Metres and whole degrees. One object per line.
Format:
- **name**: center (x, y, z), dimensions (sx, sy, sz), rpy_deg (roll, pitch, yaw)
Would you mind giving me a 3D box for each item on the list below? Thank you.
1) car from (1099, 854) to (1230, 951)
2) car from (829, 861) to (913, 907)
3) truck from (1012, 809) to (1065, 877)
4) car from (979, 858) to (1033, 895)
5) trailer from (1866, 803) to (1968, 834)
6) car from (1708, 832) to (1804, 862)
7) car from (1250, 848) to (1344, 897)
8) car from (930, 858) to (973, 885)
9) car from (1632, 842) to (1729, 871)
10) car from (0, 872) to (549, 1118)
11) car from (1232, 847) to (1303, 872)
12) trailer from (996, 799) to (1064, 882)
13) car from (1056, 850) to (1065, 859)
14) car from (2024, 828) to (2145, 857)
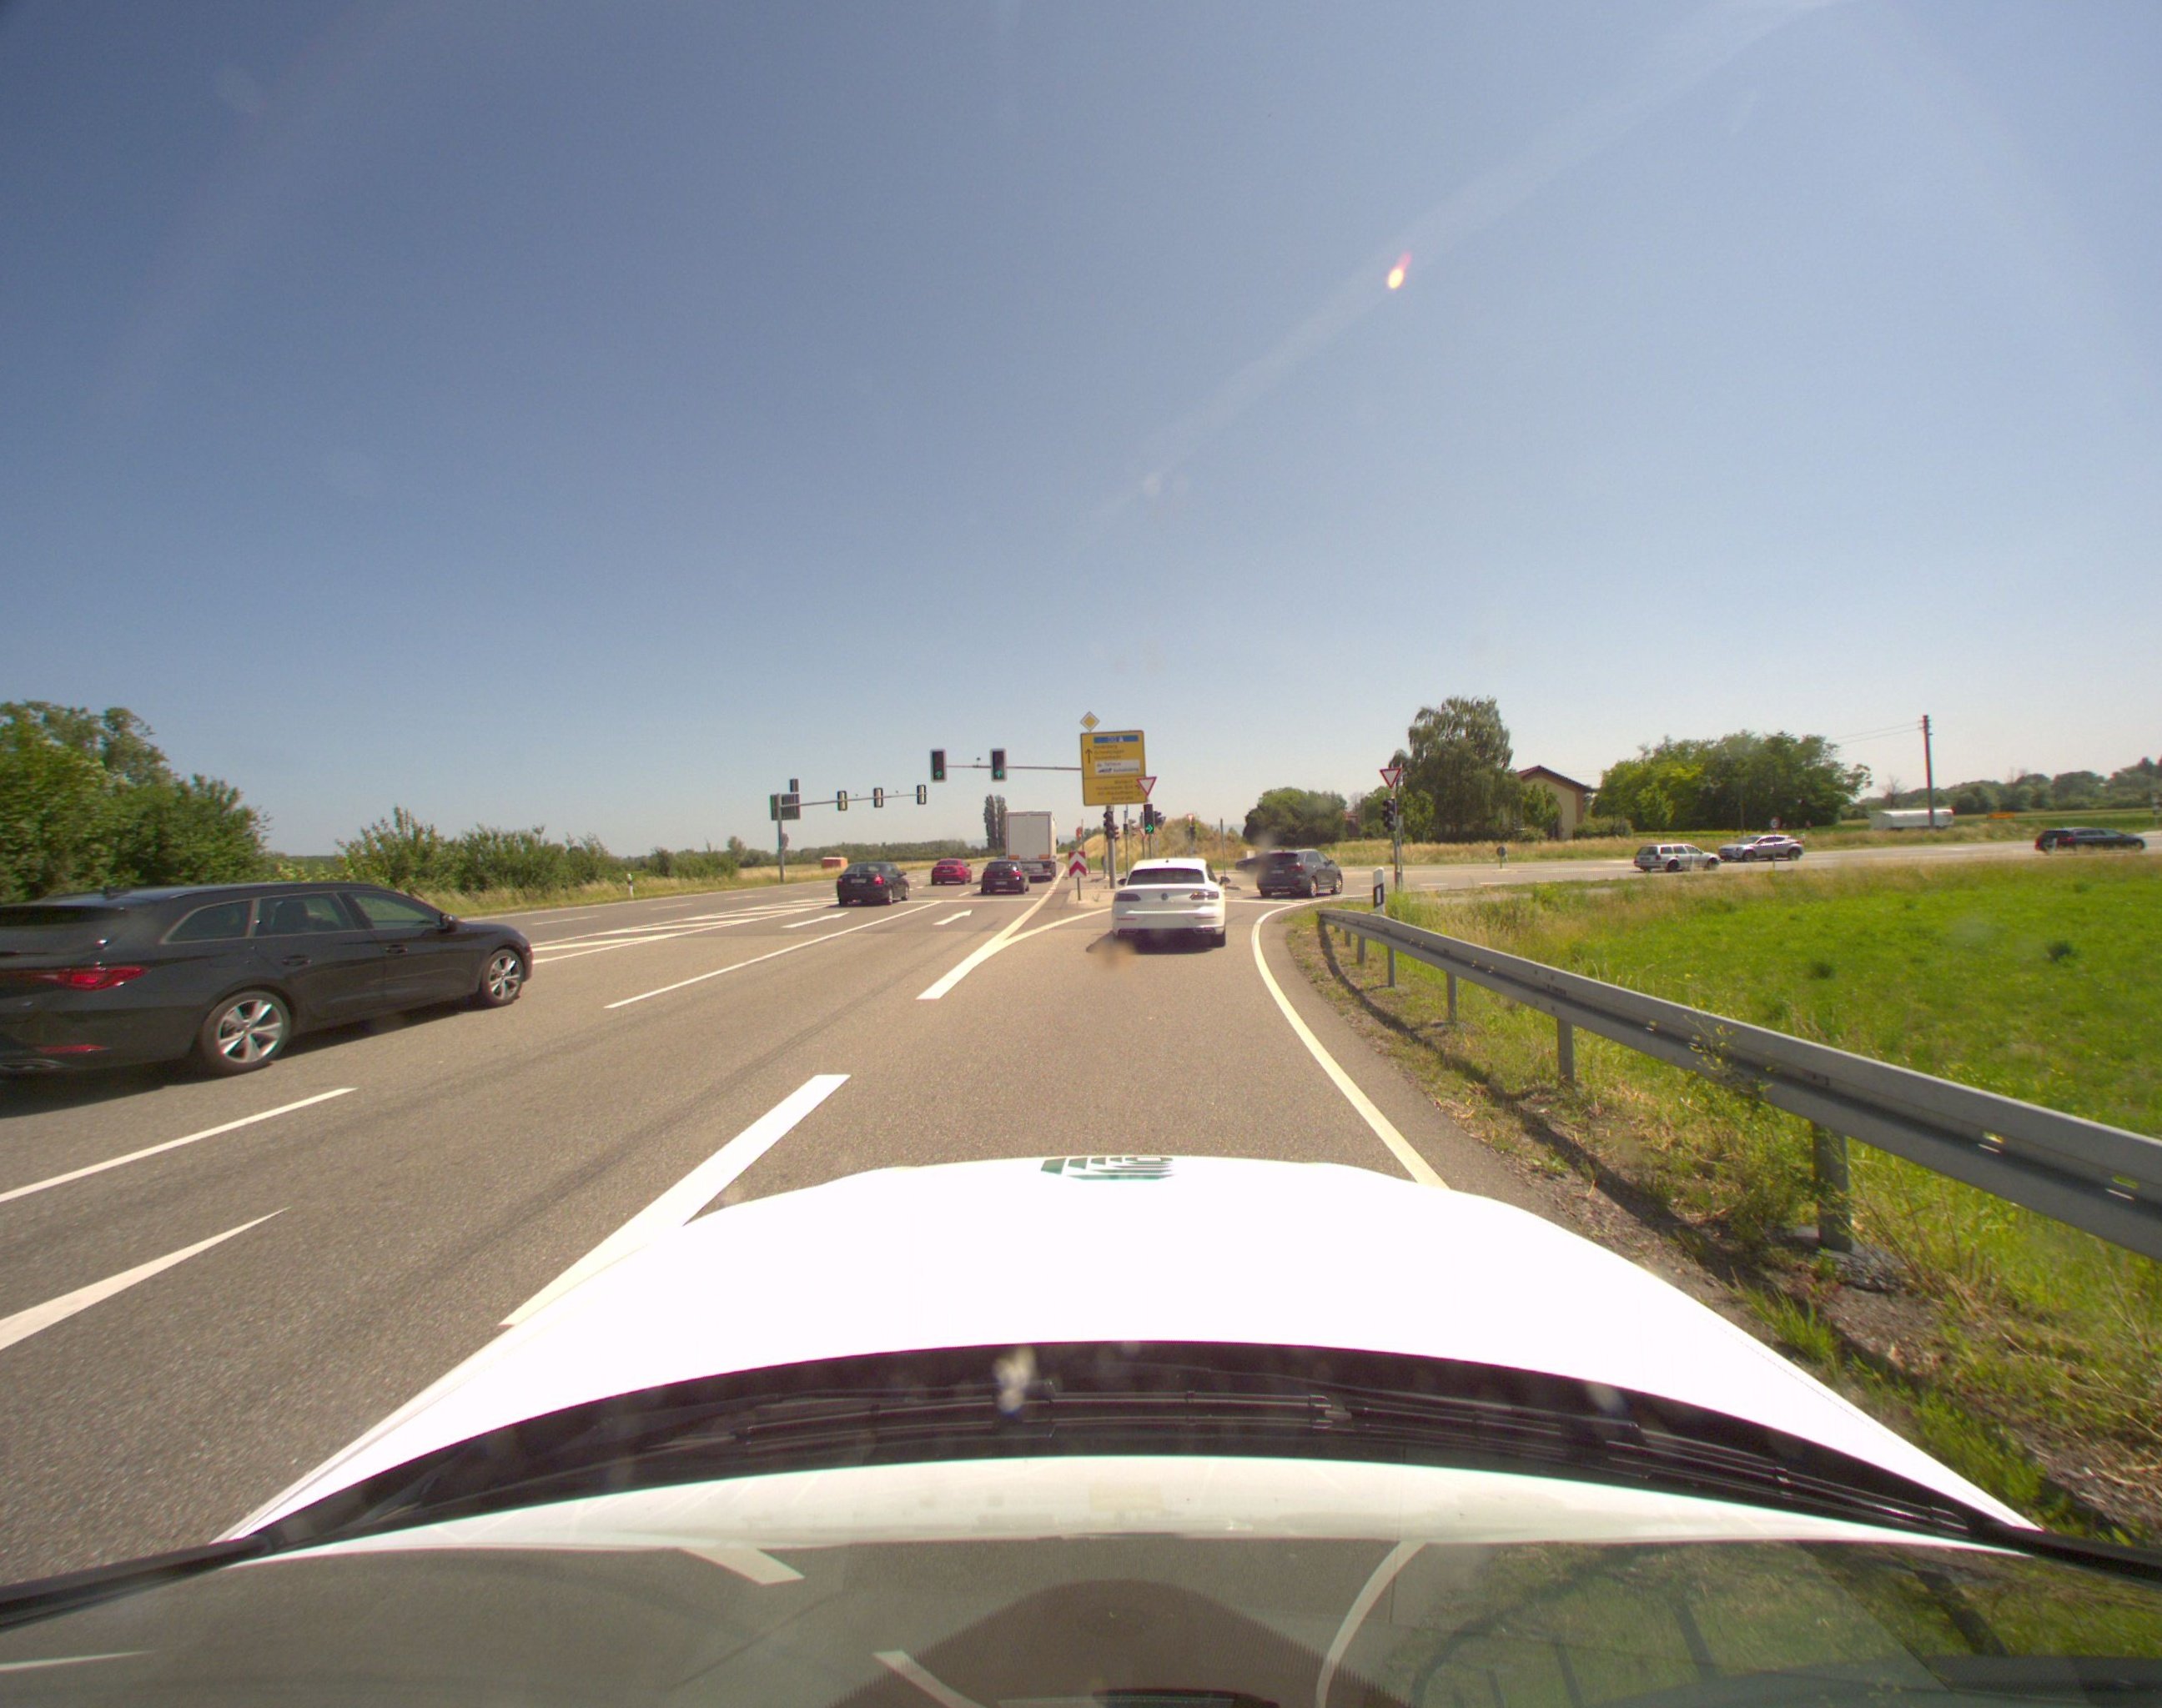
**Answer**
- **car**: center (1.648, 0.741, 14.490), dimensions (1.836, 1.433, 4.623), rpy_deg (-1, -1, 11)
- **car**: center (-7.080, 0.959, 27.897), dimensions (1.669, 1.412, 4.466), rpy_deg (-1, -1, 0)
- **truck**: center (-2.900, -0.733, 57.965), dimensions (3.370, 4.543, 6.371), rpy_deg (-1, 0, 0)
- **car**: center (-3.105, 0.893, 34.318), dimensions (1.778, 1.430, 4.381), rpy_deg (-1, 0, 1)
- **trailer**: center (76.404, -3.193, 74.512), dimensions (6.331, 2.455, 2.691), rpy_deg (-3, 1, 5)
- **car**: center (40.303, -0.410, 48.669), dimensions (4.534, 1.543, 1.867), rpy_deg (-3, 1, -8)
- **car**: center (7.856, 0.619, 29.336), dimensions (1.916, 1.616, 4.406), rpy_deg (-2, -1, 34)
- **car**: center (-7.260, 0.939, 46.093), dimensions (1.744, 1.421, 4.564), rpy_deg (-1, 0, -1)
- **car**: center (31.346, 0.144, 42.647), dimensions (4.080, 1.429, 1.799), rpy_deg (-1, -1, -11)
- **car**: center (-7.240, 0.939, 7.337), dimensions (1.883, 1.447, 4.525), rpy_deg (-1, 0, 0)
- **car**: center (12.060, 0.360, 52.857), dimensions (4.241, 1.368, 1.778), rpy_deg (-3, 1, 3)
- **trailer**: center (-2.924, -0.727, 51.214), dimensions (3.370, 4.542, 12.870), rpy_deg (-1, 0, 0)
- **car**: center (-4.796, 0.176, 187.110), dimensions (1.975, 1.869, 4.462), rpy_deg (-1, -1, -3)
- **car**: center (54.620, -0.614, 44.381), dimensions (4.386, 1.476, 1.805), rpy_deg (-1, -1, 0)
